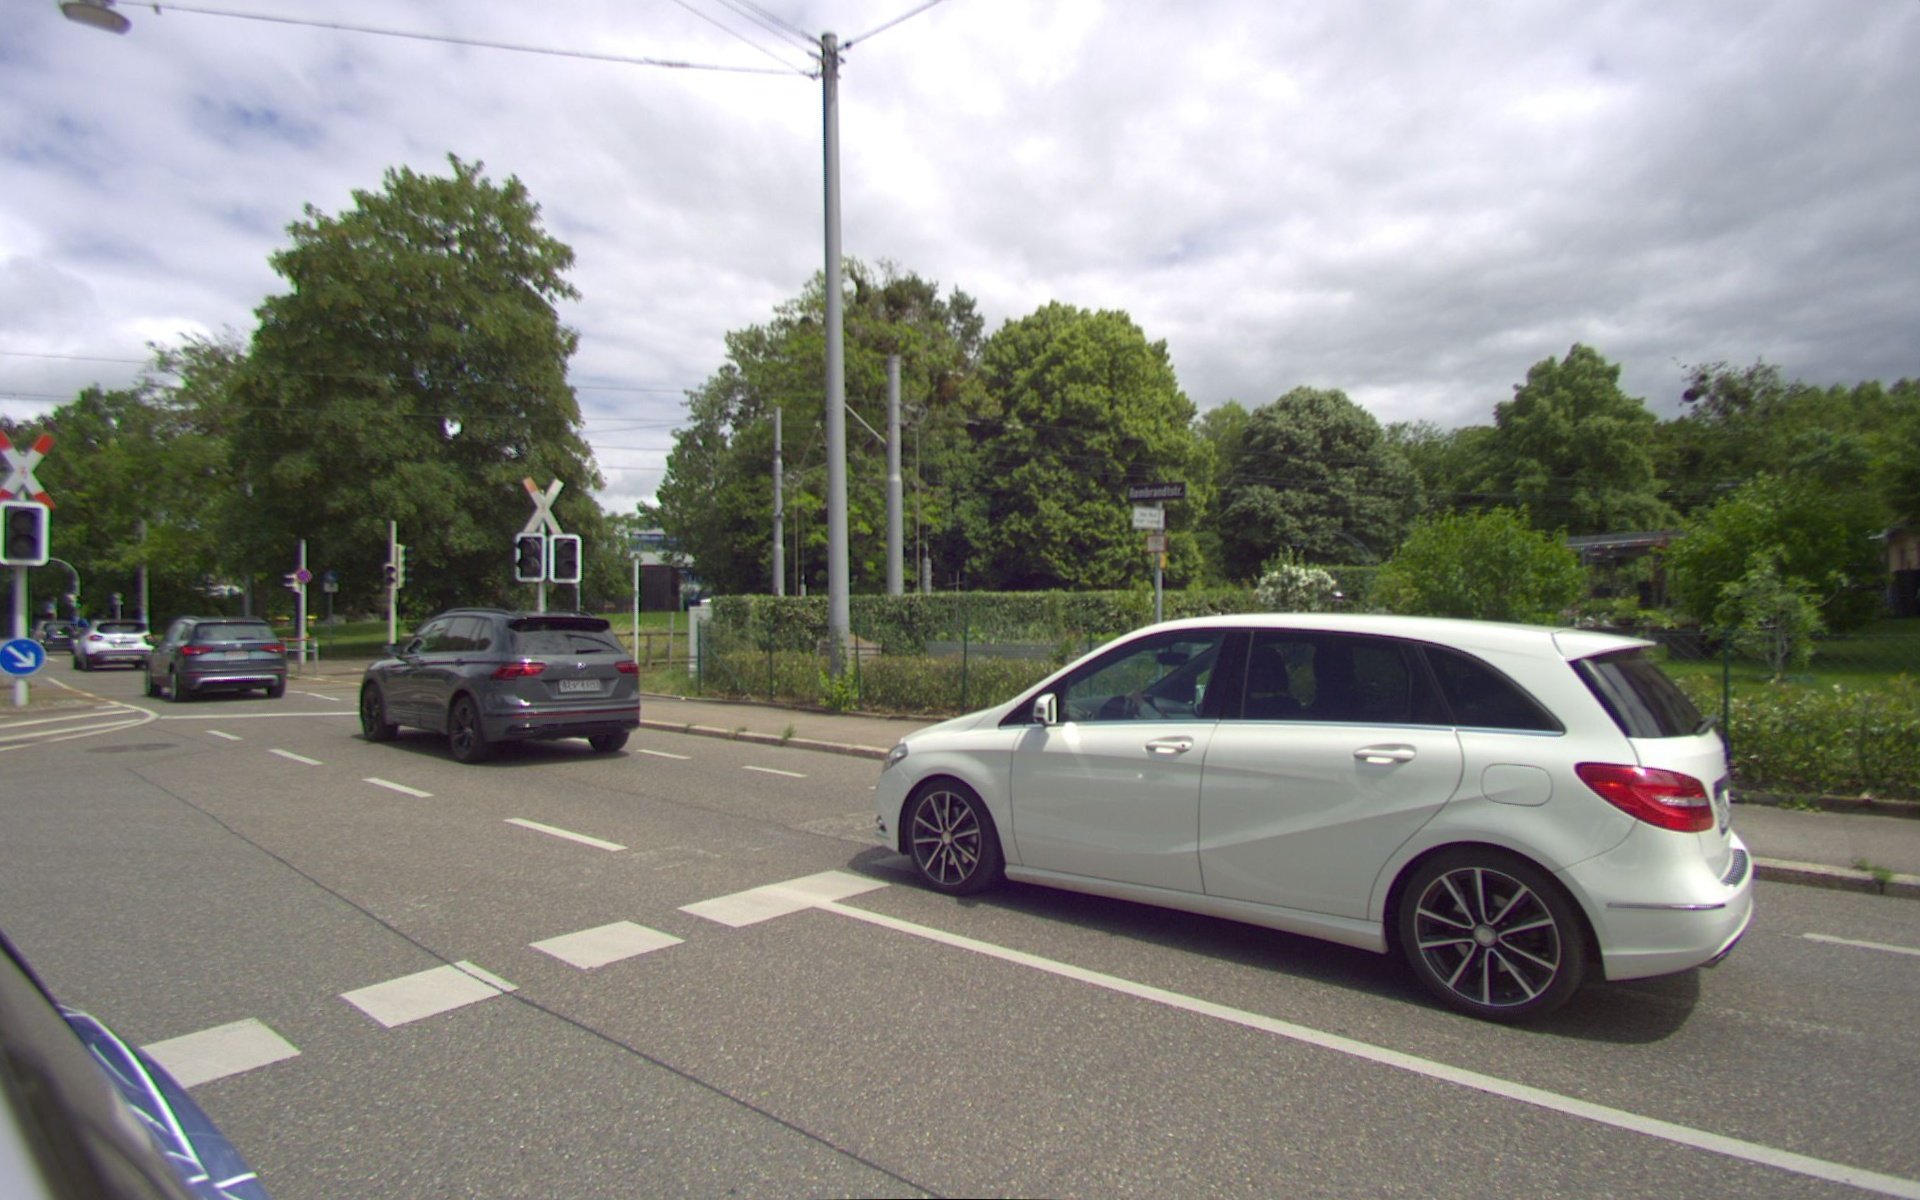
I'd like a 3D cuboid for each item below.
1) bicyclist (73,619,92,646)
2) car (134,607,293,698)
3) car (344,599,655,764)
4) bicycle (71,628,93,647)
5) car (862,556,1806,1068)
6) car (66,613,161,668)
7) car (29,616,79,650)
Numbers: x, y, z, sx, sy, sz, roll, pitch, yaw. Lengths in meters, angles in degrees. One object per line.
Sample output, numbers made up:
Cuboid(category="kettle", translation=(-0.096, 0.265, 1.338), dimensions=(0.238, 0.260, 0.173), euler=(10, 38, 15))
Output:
Cuboid(category="bicyclist", translation=(-54.114, 1.985, 62.396), dimensions=(0.772, 1.620, 0.796), euler=(-1, 0, 42))
Cuboid(category="car", translation=(-14.888, 1.007, 20.107), dimensions=(4.038, 1.615, 1.756), euler=(-2, -3, 42))
Cuboid(category="car", translation=(-5.562, 0.826, 11.987), dimensions=(4.167, 1.615, 1.756), euler=(0, -2, 41))
Cuboid(category="bicycle", translation=(-54.159, 2.317, 62.439), dimensions=(1.800, 1.116, 0.803), euler=(-1, 0, 42))
Cuboid(category="car", translation=(1.593, 0.740, 5.184), dimensions=(4.167, 1.573, 1.756), euler=(-1, -4, 41))
Cuboid(category="car", translation=(-26.409, 1.246, 31.529), dimensions=(4.039, 1.615, 1.755), euler=(-2, -3, 43))
Cuboid(category="car", translation=(-41.093, 1.491, 45.882), dimensions=(1.556, 1.521, 2.790), euler=(1, -2, -44))
